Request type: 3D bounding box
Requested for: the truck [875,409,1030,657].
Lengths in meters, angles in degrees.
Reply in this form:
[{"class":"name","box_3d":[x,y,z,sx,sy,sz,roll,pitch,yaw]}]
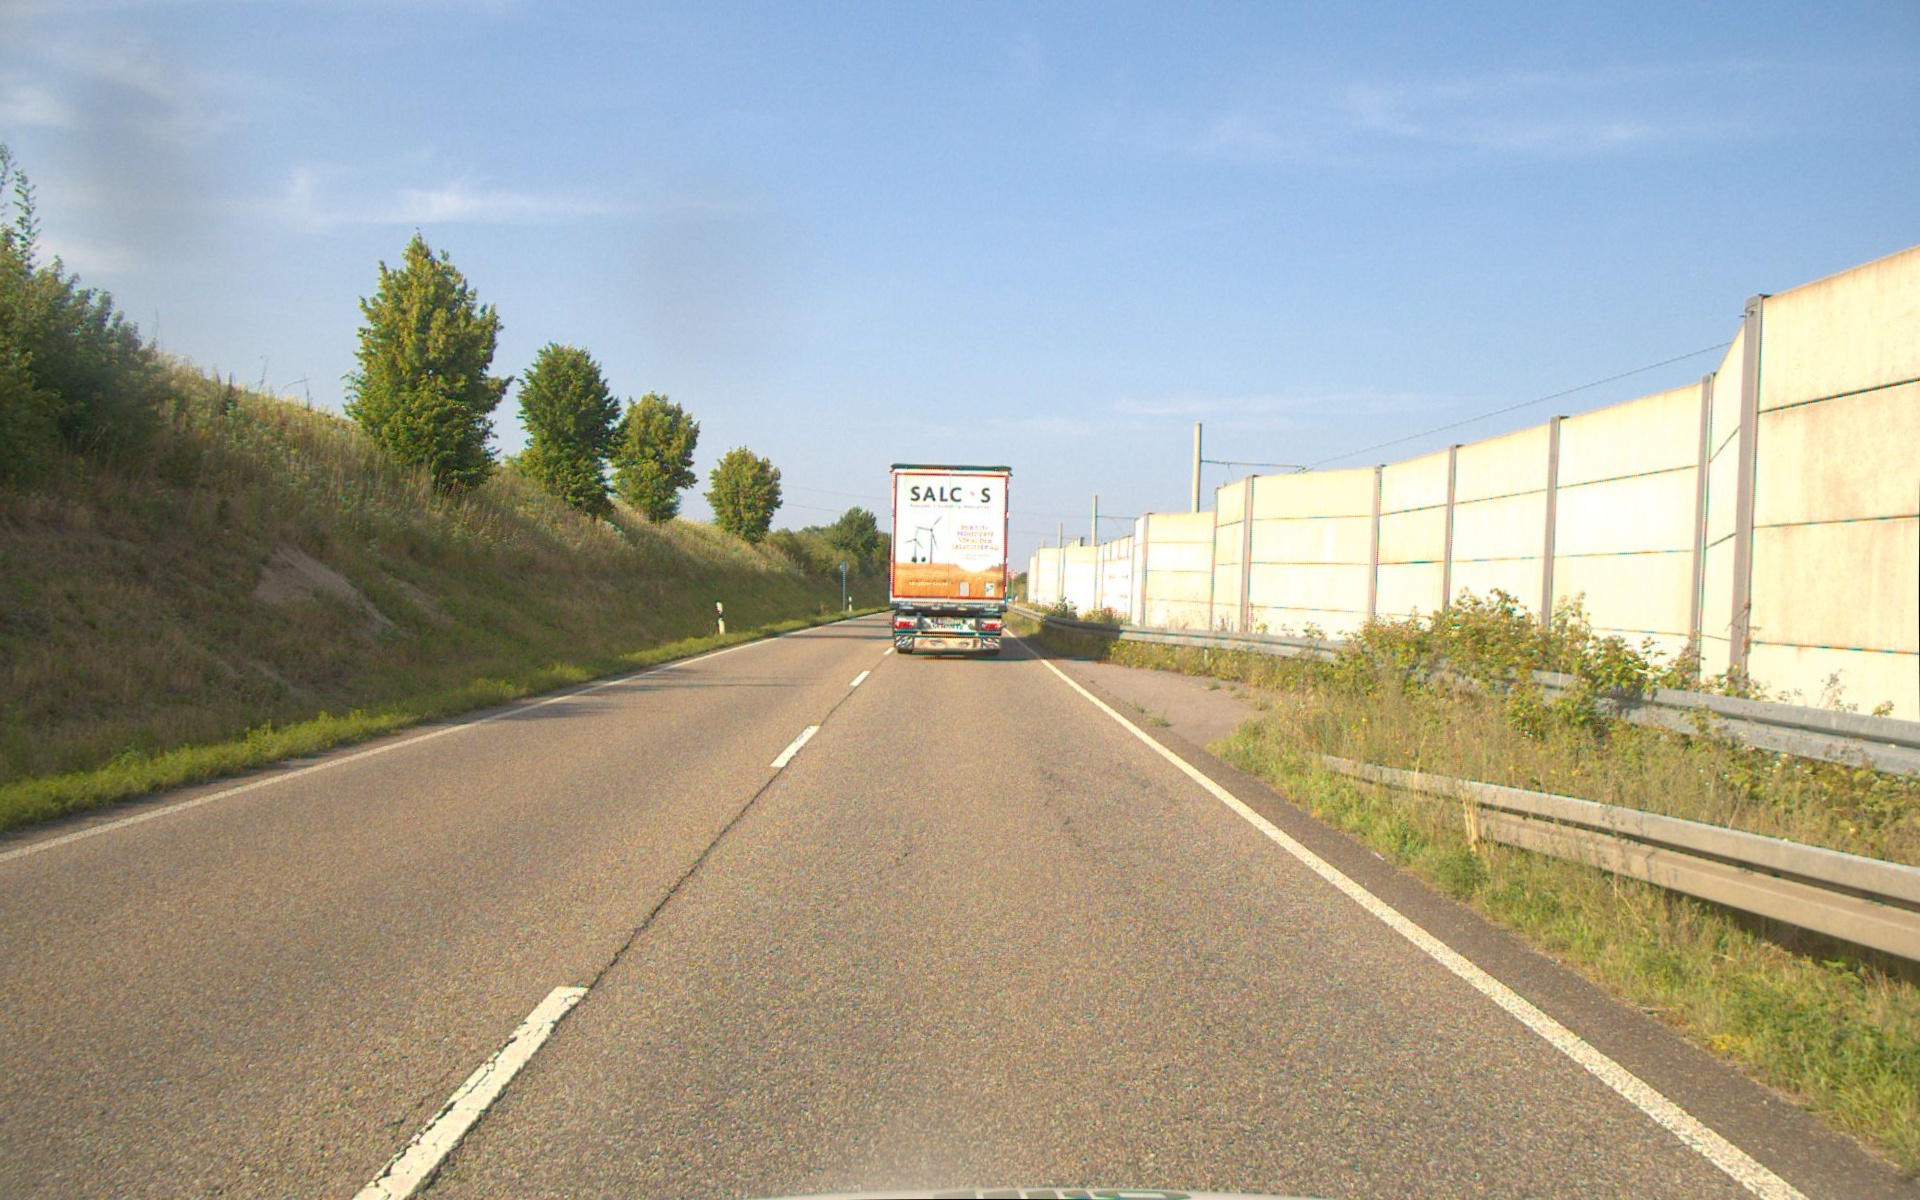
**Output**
[{"class":"truck","box_3d":[-0.263,-1.474,40.854,3.224,5.179,12.035,1,1,-1]}]
